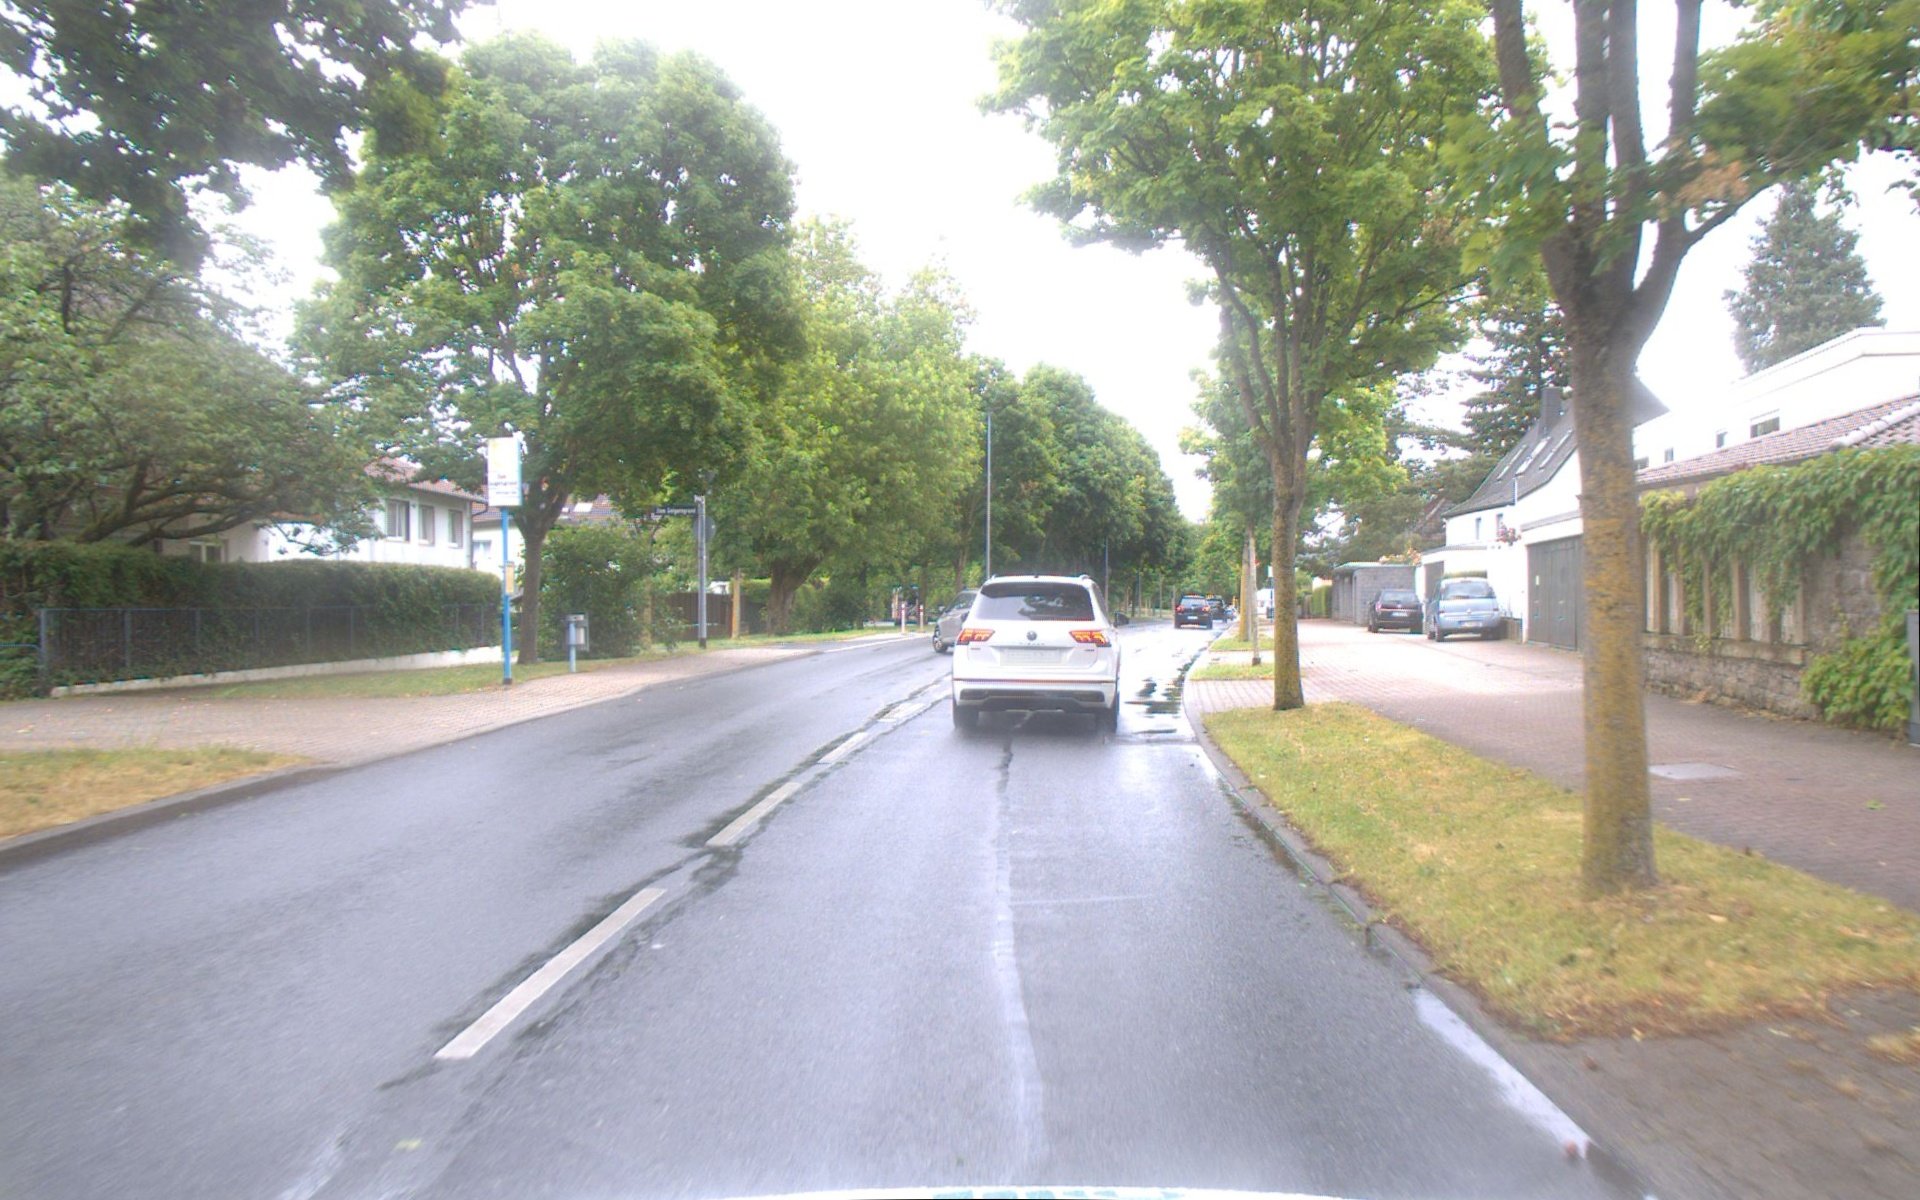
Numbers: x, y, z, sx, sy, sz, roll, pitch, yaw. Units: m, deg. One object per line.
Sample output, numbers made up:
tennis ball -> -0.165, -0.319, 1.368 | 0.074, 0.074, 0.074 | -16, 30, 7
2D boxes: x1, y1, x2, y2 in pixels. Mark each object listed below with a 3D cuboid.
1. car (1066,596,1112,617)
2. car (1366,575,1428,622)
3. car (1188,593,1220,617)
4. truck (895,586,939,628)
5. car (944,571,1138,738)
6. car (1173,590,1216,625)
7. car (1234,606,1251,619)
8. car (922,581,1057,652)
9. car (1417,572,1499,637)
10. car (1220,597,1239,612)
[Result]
car -> 9.820, 0.513, 126.371 | 1.817, 1.508, 3.970 | -1, 0, -24
car -> 15.022, -0.062, 57.019 | 1.733, 1.524, 4.548 | -1, 0, 11
car -> 16.465, 0.316, 111.598 | 1.802, 1.513, 4.002 | -2, 0, 4
truck -> -2.739, 0.470, 107.265 | 2.236, 2.642, 5.877 | -1, 0, 4
car -> 1.004, 0.541, 18.948 | 1.955, 1.660, 4.003 | 1, 0, 5
car -> 10.998, 0.343, 77.469 | 1.801, 1.513, 4.003 | 2, 1, 10
car -> 30.707, 1.326, 179.821 | 1.602, 1.349, 4.003 | 1, 0, 8
car -> 0.622, 0.396, 38.463 | 1.813, 1.513, 3.976 | -2, 0, -20
car -> 13.352, 0.117, 44.488 | 1.706, 1.639, 4.003 | -1, 0, 11
car -> 25.327, 0.423, 155.599 | 1.602, 1.349, 4.003 | 1, 0, 8
